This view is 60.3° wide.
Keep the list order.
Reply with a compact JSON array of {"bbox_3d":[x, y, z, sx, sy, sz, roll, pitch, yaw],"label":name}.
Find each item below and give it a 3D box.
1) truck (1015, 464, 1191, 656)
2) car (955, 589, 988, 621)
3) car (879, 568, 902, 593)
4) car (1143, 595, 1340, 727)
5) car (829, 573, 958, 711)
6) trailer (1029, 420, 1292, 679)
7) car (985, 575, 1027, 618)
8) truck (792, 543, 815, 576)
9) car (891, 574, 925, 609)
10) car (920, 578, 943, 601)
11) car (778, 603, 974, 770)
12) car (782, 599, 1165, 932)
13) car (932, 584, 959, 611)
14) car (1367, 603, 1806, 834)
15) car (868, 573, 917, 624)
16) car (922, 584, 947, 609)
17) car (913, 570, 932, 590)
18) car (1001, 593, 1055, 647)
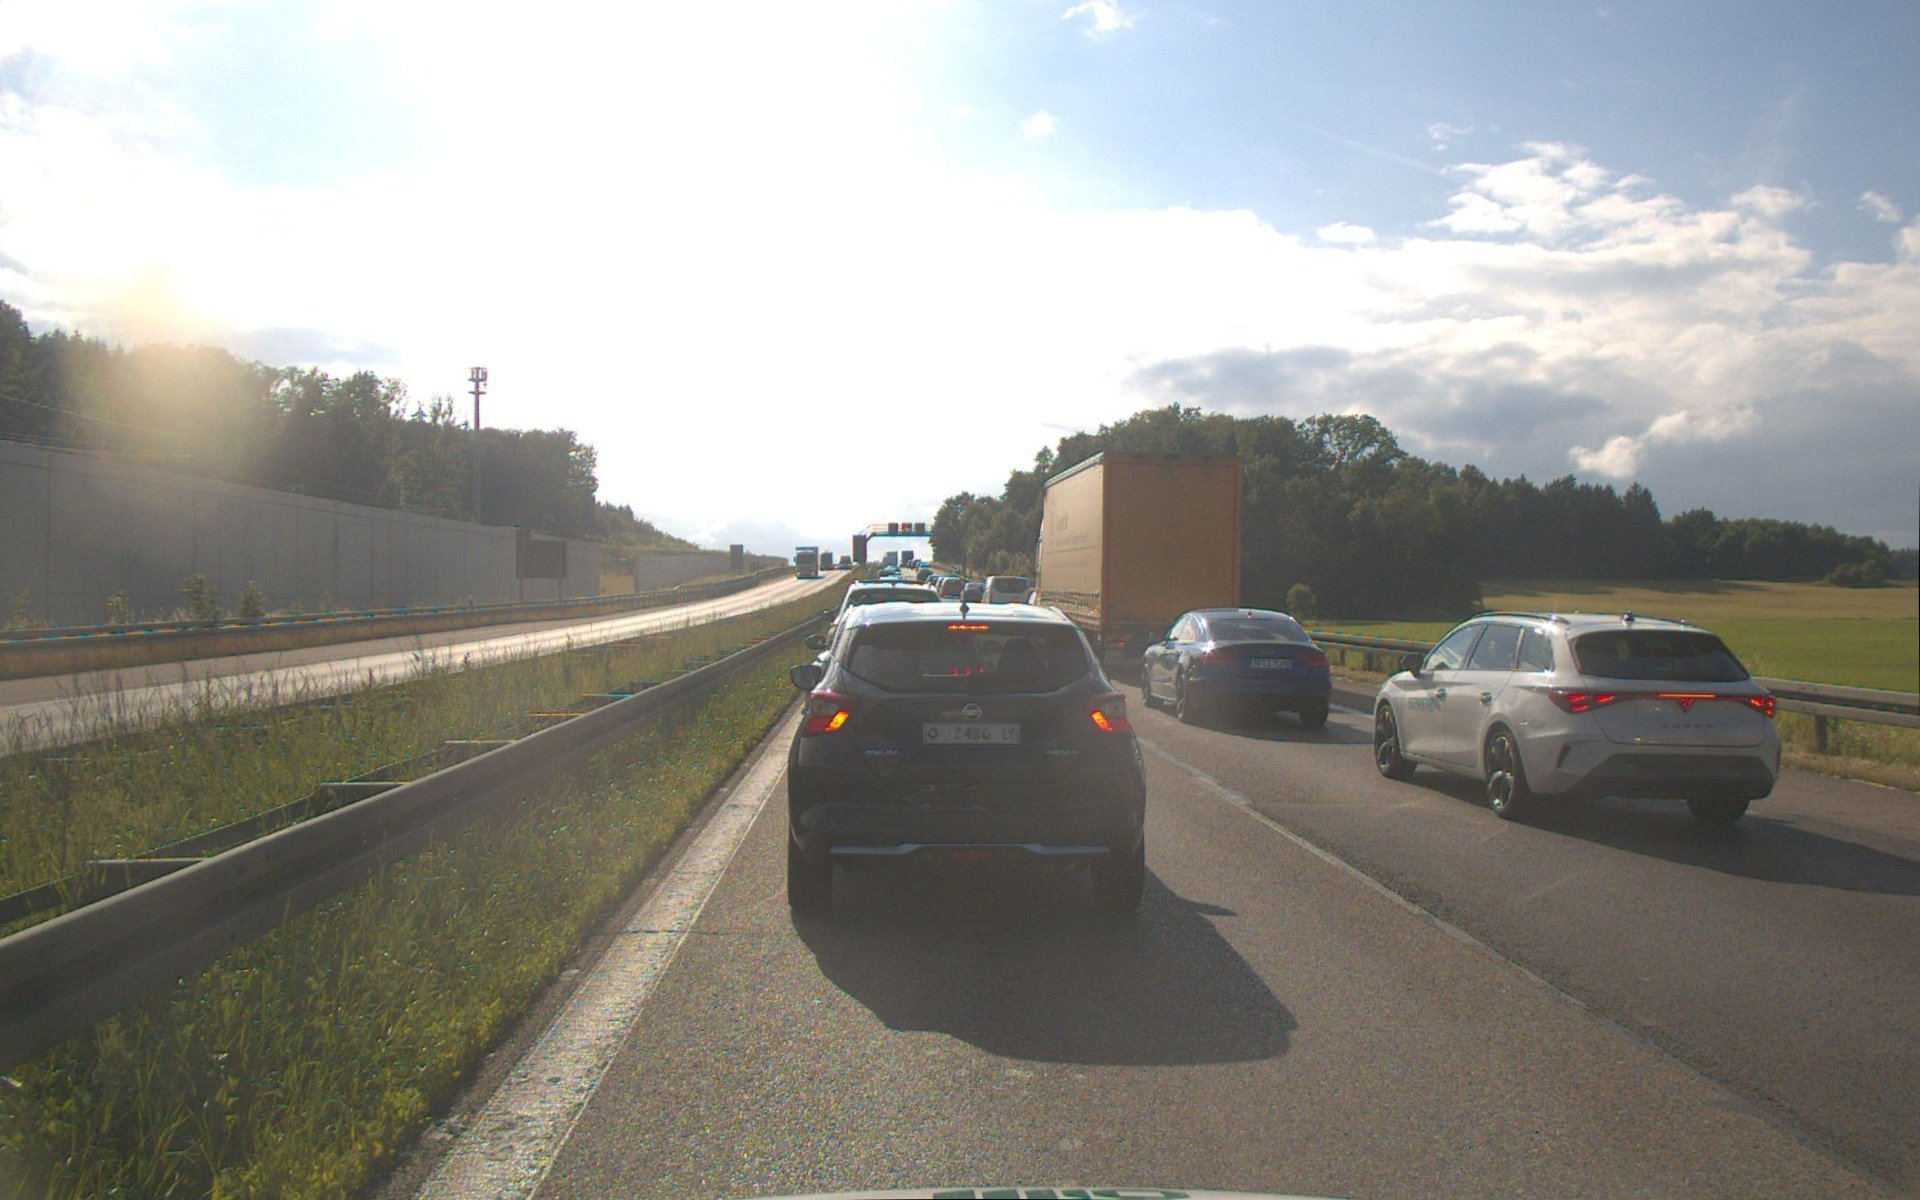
[{"bbox_3d":[3.468,-0.921,42.191,3.511,4.456,6.684,1,0,-3],"label":"truck"},{"bbox_3d":[0.788,0.351,111.659,1.954,2.049,3.997,1,0,-3],"label":"car"},{"bbox_3d":[-6.062,-1.678,143.958,1.954,2.049,3.997,1,0,-3],"label":"car"},{"bbox_3d":[3.503,0.720,21.286,1.712,1.501,4.145,1,0,-1],"label":"car"},{"bbox_3d":[-0.898,0.555,23.118,1.640,1.756,3.595,1,0,-1],"label":"car"},{"bbox_3d":[3.836,-0.870,35.676,3.478,4.535,12.714,1,0,-3],"label":"trailer"},{"bbox_3d":[1.982,-0.136,71.633,1.633,1.785,3.326,1,0,-1],"label":"car"},{"bbox_3d":[-20.494,-5.307,217.170,2.585,4.169,6.998,1,0,-3],"label":"truck"},{"bbox_3d":[-3.229,-0.484,101.181,1.954,2.049,3.997,1,0,-3],"label":"car"},{"bbox_3d":[-2.621,-0.983,153.550,1.954,2.049,3.997,1,0,-3],"label":"car"},{"bbox_3d":[-0.750,0.741,15.810,1.640,1.391,3.595,1,0,-1],"label":"car"},{"bbox_3d":[0.039,0.744,9.008,1.675,1.451,3.377,1,0,-1],"label":"car"},{"bbox_3d":[-1.174,-0.216,130.176,1.954,2.049,3.997,1,0,-3],"label":"car"},{"bbox_3d":[4.565,0.779,12.753,1.588,1.471,4.143,1,0,-4],"label":"car"},{"bbox_3d":[-2.869,-0.046,69.328,1.954,2.049,3.997,1,0,-3],"label":"car"},{"bbox_3d":[-2.160,-0.312,139.520,1.954,2.049,3.997,1,0,-3],"label":"car"},{"bbox_3d":[-4.197,-2.213,183.699,1.954,2.049,3.997,1,0,-3],"label":"car"},{"bbox_3d":[2.326,0.663,57.066,1.633,1.785,3.326,1,0,-1],"label":"car"}]
